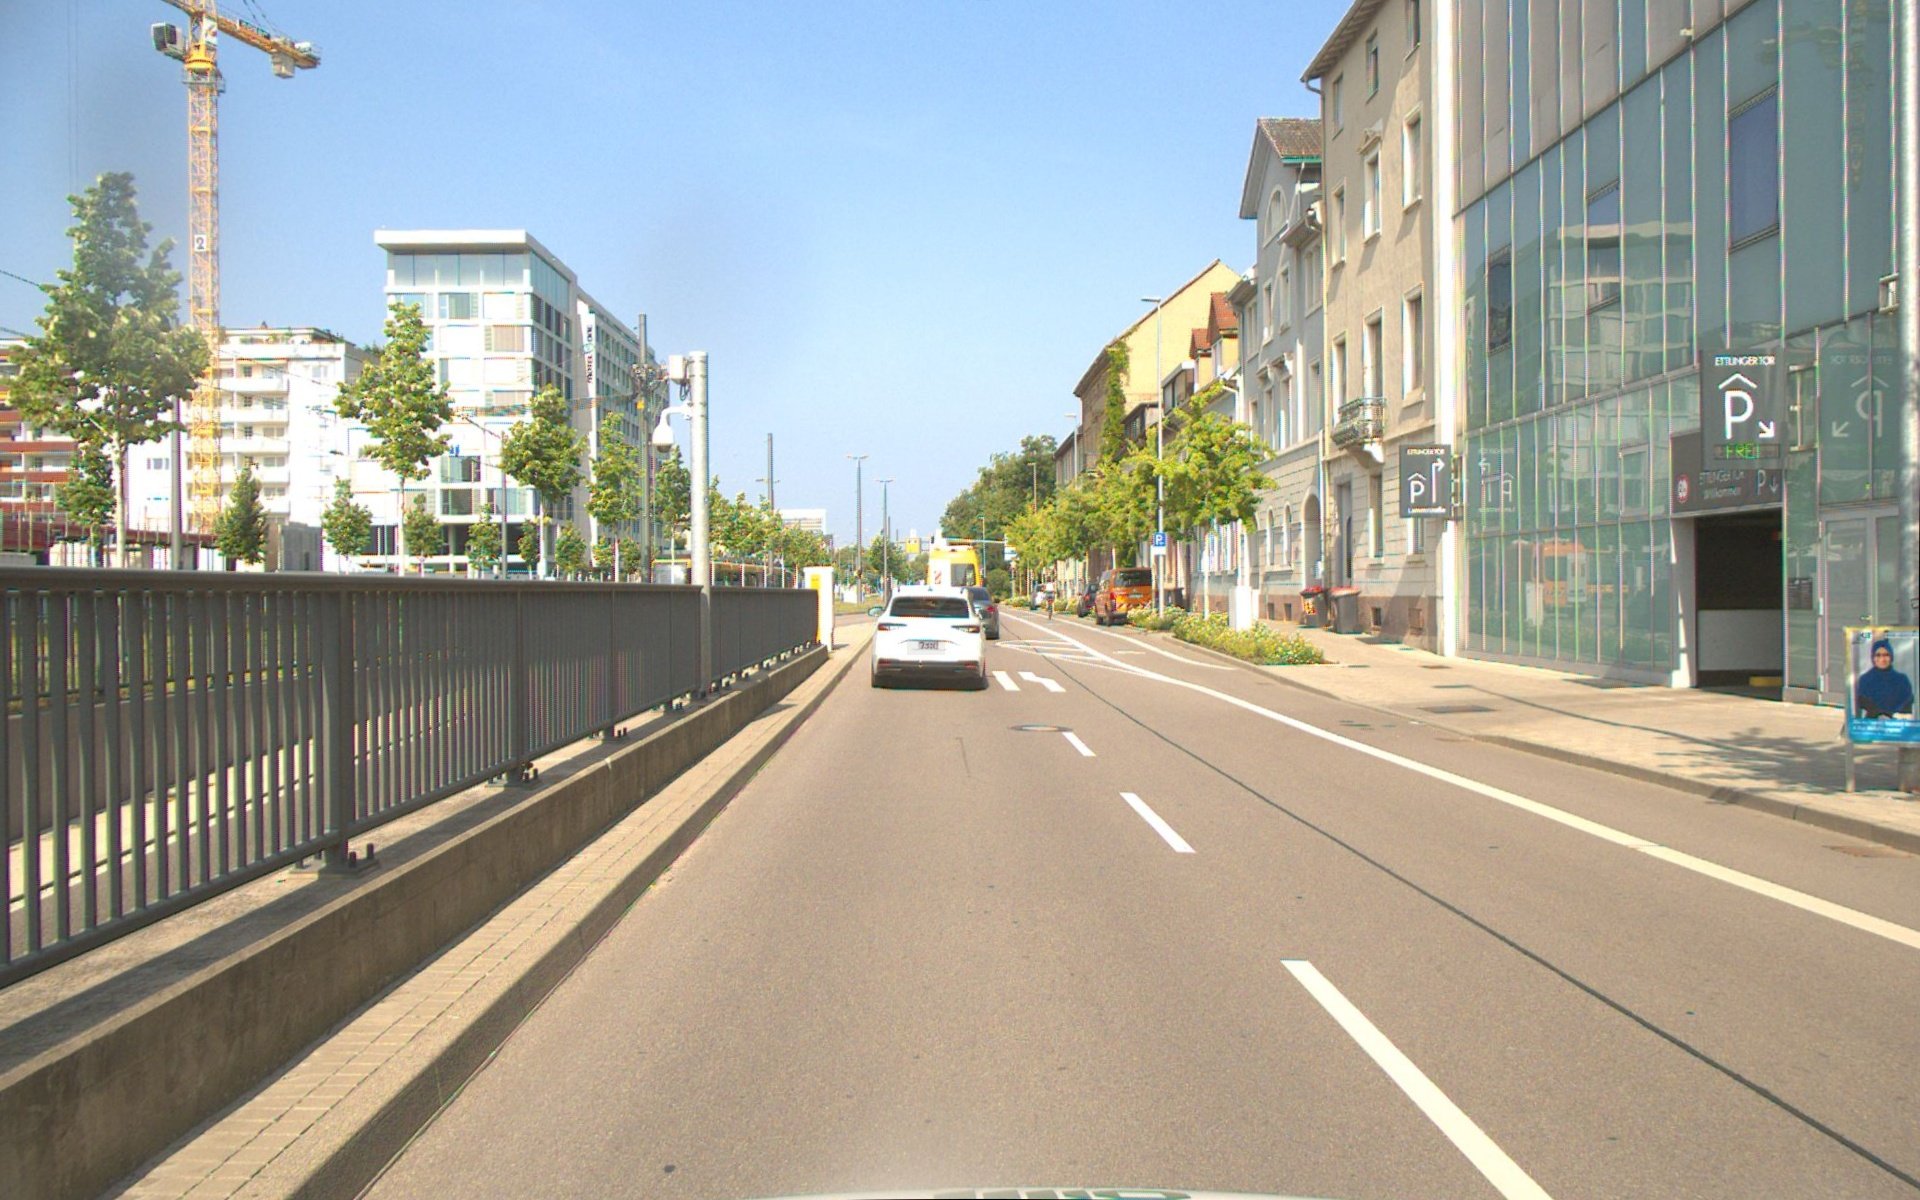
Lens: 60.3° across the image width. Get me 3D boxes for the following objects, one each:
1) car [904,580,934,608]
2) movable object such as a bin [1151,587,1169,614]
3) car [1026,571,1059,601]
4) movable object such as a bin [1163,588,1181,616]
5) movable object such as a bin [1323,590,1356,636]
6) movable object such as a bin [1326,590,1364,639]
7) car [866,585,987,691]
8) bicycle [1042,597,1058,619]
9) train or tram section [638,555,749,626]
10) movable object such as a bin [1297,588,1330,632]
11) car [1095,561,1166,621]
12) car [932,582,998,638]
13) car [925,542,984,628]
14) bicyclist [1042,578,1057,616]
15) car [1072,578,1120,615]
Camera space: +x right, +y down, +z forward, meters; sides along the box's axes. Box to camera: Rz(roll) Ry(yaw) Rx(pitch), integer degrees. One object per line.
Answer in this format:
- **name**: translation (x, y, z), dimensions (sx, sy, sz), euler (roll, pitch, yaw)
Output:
- **car**: translation (-2.689, -0.395, 109.496), dimensions (1.891, 1.853, 4.000), euler (0, 0, 0)
- **movable object such as a bin**: translation (9.138, 0.024, 75.533), dimensions (0.725, 1.221, 0.773), euler (0, 0, -2)
- **car**: translation (5.132, -0.885, 103.152), dimensions (1.776, 1.844, 3.835), euler (0, 1, -1)
- **movable object such as a bin**: translation (9.279, 0.066, 72.505), dimensions (0.665, 1.221, 0.781), euler (0, 0, -2)
- **movable object such as a bin**: translation (9.825, 0.337, 42.854), dimensions (0.690, 1.172, 0.671), euler (0, 2, -2)
- **movable object such as a bin**: translation (9.740, 0.369, 41.882), dimensions (0.765, 1.192, 0.808), euler (0, 2, -2)
- **car**: translation (-0.527, 0.555, 27.132), dimensions (1.832, 1.602, 4.000), euler (0, 0, -1)
- **bicycle**: translation (3.848, 0.335, 70.810), dimensions (0.642, 0.955, 1.517), euler (0, 0, 1)
- **train or tram section**: translation (-15.482, -0.531, 97.983), dimensions (2.845, 3.740, 18.142), euler (1, 0, 2)
- **movable object such as a bin**: translation (9.682, 0.271, 45.303), dimensions (0.666, 1.172, 0.607), euler (-2, 3, -45)
- **car**: translation (6.096, -0.346, 59.662), dimensions (2.021, 2.049, 4.587), euler (0, 1, -1)
- **car**: translation (0.126, 0.241, 46.423), dimensions (1.724, 1.461, 4.115), euler (1, 1, 0)
- **car**: translation (-0.207, -0.613, 58.518), dimensions (1.979, 2.844, 5.401), euler (0, 2, -1)
- **bicyclist**: translation (3.839, -0.123, 70.838), dimensions (0.626, 1.604, 0.771), euler (0, 0, 1)
- **car**: translation (5.939, -0.151, 72.472), dimensions (1.639, 1.509, 4.311), euler (-2, 0, -1)
